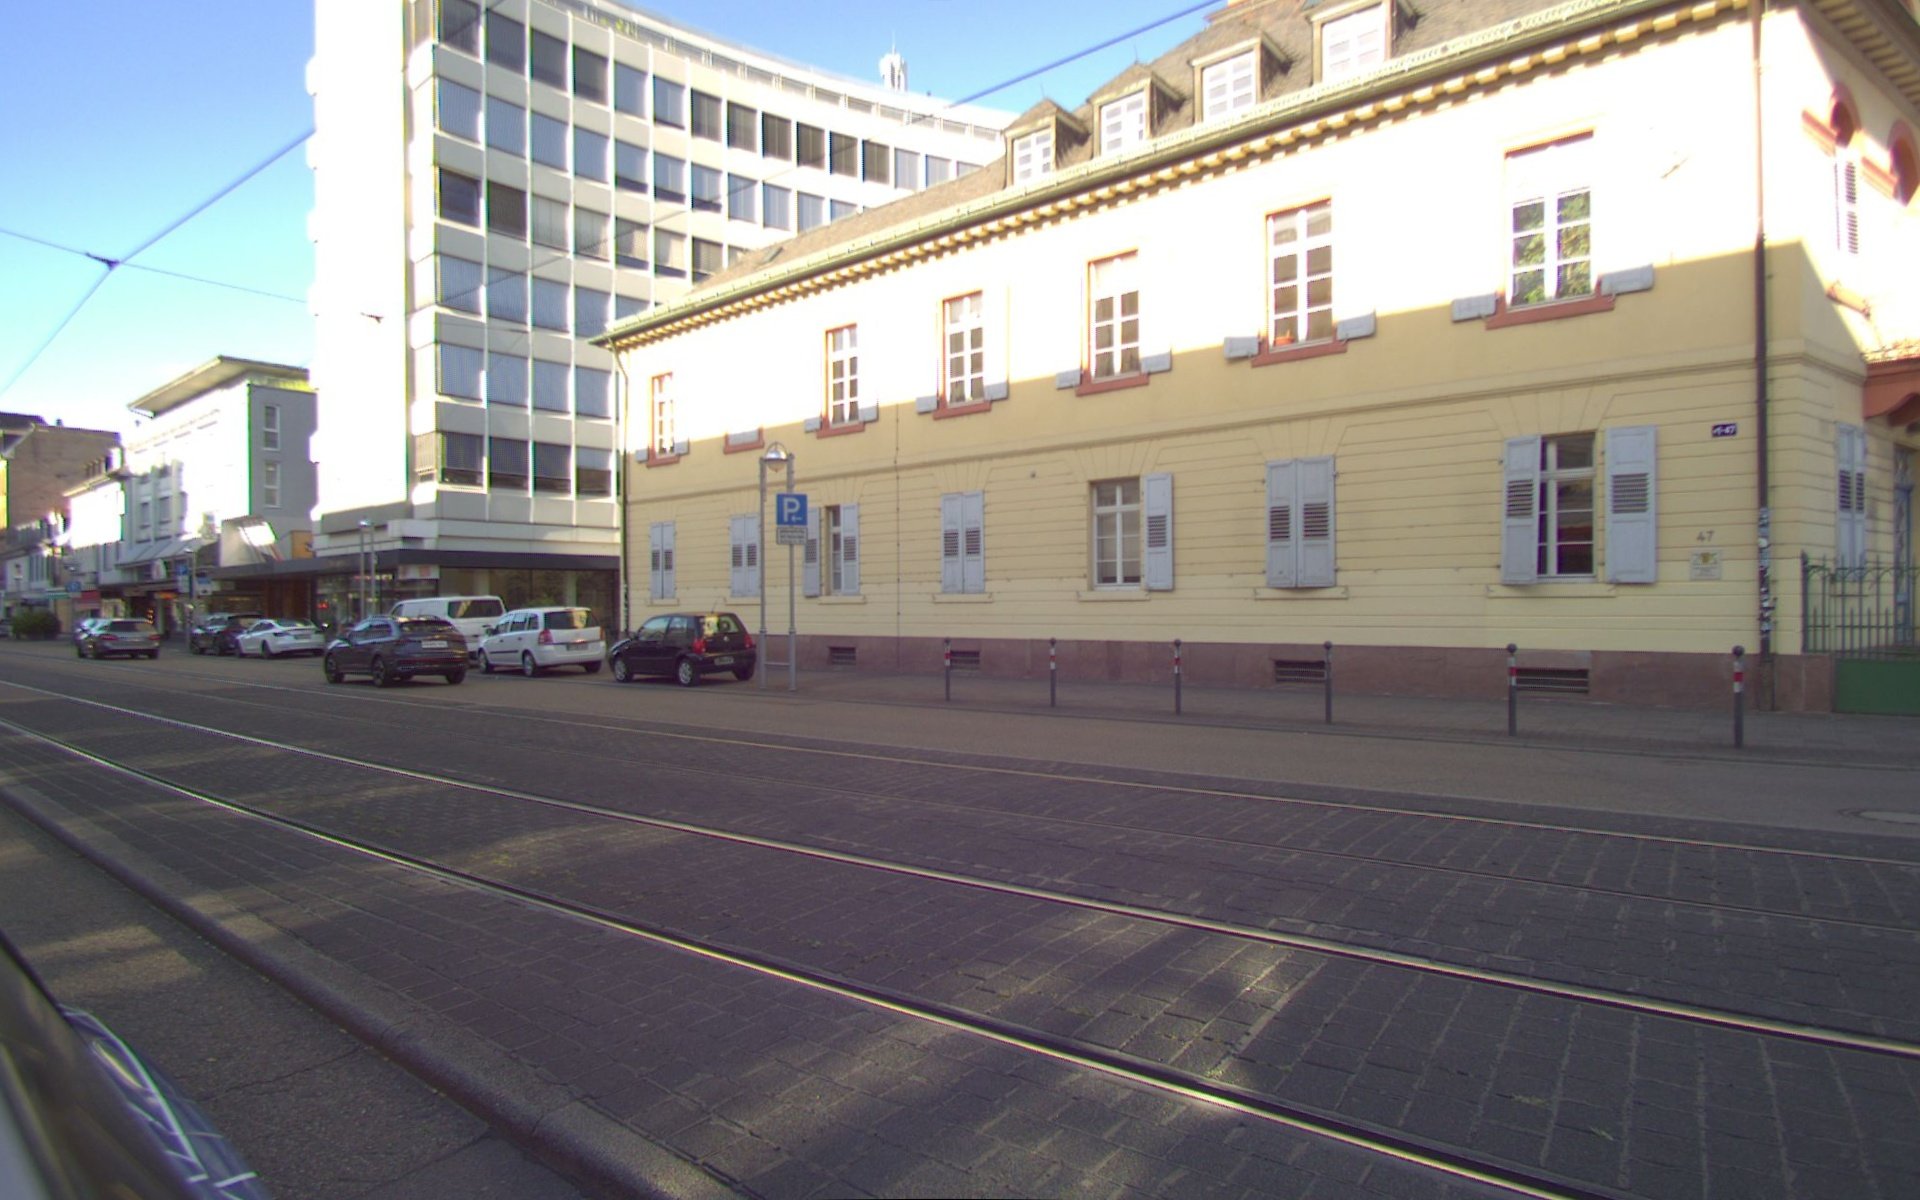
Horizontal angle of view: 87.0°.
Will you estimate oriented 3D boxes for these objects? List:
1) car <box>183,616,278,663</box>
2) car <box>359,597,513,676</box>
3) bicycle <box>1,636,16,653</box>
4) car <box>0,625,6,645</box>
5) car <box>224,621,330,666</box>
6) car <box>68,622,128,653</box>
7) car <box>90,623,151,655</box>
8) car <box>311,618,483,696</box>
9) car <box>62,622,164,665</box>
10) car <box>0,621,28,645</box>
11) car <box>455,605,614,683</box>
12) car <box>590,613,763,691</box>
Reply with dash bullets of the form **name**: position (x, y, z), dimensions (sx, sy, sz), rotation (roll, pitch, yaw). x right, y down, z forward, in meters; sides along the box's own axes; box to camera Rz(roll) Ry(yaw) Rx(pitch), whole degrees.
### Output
- **car**: position (-29.304, 1.548, 40.628), dimensions (4.651, 1.691, 1.959), rotation (-1, 1, 40)
- **car**: position (-14.960, 0.973, 28.755), dimensions (5.091, 1.990, 1.974), rotation (-1, 1, 39)
- **bicycle**: position (-64.690, 3.018, 68.818), dimensions (1.714, 1.098, 0.513), rotation (-1, 1, 40)
- **car**: position (-77.176, 2.777, 80.128), dimensions (4.758, 1.525, 1.799), rotation (-1, 0, 39)
- **car**: position (-25.150, 1.551, 37.235), dimensions (4.650, 1.431, 1.870), rotation (-1, 1, 38)
- **car**: position (-47.630, 2.044, 55.895), dimensions (4.848, 1.535, 1.720), rotation (-1, 2, 40)
- **car**: position (-43.050, 1.968, 51.874), dimensions (3.583, 1.535, 1.586), rotation (-1, 1, 37)
- **car**: position (-12.440, 1.196, 22.260), dimensions (4.273, 1.523, 1.748), rotation (-1, -1, 37)
- **car**: position (-31.367, 1.591, 37.443), dimensions (4.923, 1.507, 1.862), rotation (-1, -3, 38)
- **car**: position (-69.759, 2.424, 74.187), dimensions (2.888, 1.616, 1.680), rotation (-1, 1, 39)
- **car**: position (-10.619, 1.017, 25.094), dimensions (4.647, 1.698, 1.789), rotation (-1, 1, 42)
- **car**: position (-5.968, 1.019, 21.137), dimensions (3.716, 1.411, 1.599), rotation (-1, 1, 39)
